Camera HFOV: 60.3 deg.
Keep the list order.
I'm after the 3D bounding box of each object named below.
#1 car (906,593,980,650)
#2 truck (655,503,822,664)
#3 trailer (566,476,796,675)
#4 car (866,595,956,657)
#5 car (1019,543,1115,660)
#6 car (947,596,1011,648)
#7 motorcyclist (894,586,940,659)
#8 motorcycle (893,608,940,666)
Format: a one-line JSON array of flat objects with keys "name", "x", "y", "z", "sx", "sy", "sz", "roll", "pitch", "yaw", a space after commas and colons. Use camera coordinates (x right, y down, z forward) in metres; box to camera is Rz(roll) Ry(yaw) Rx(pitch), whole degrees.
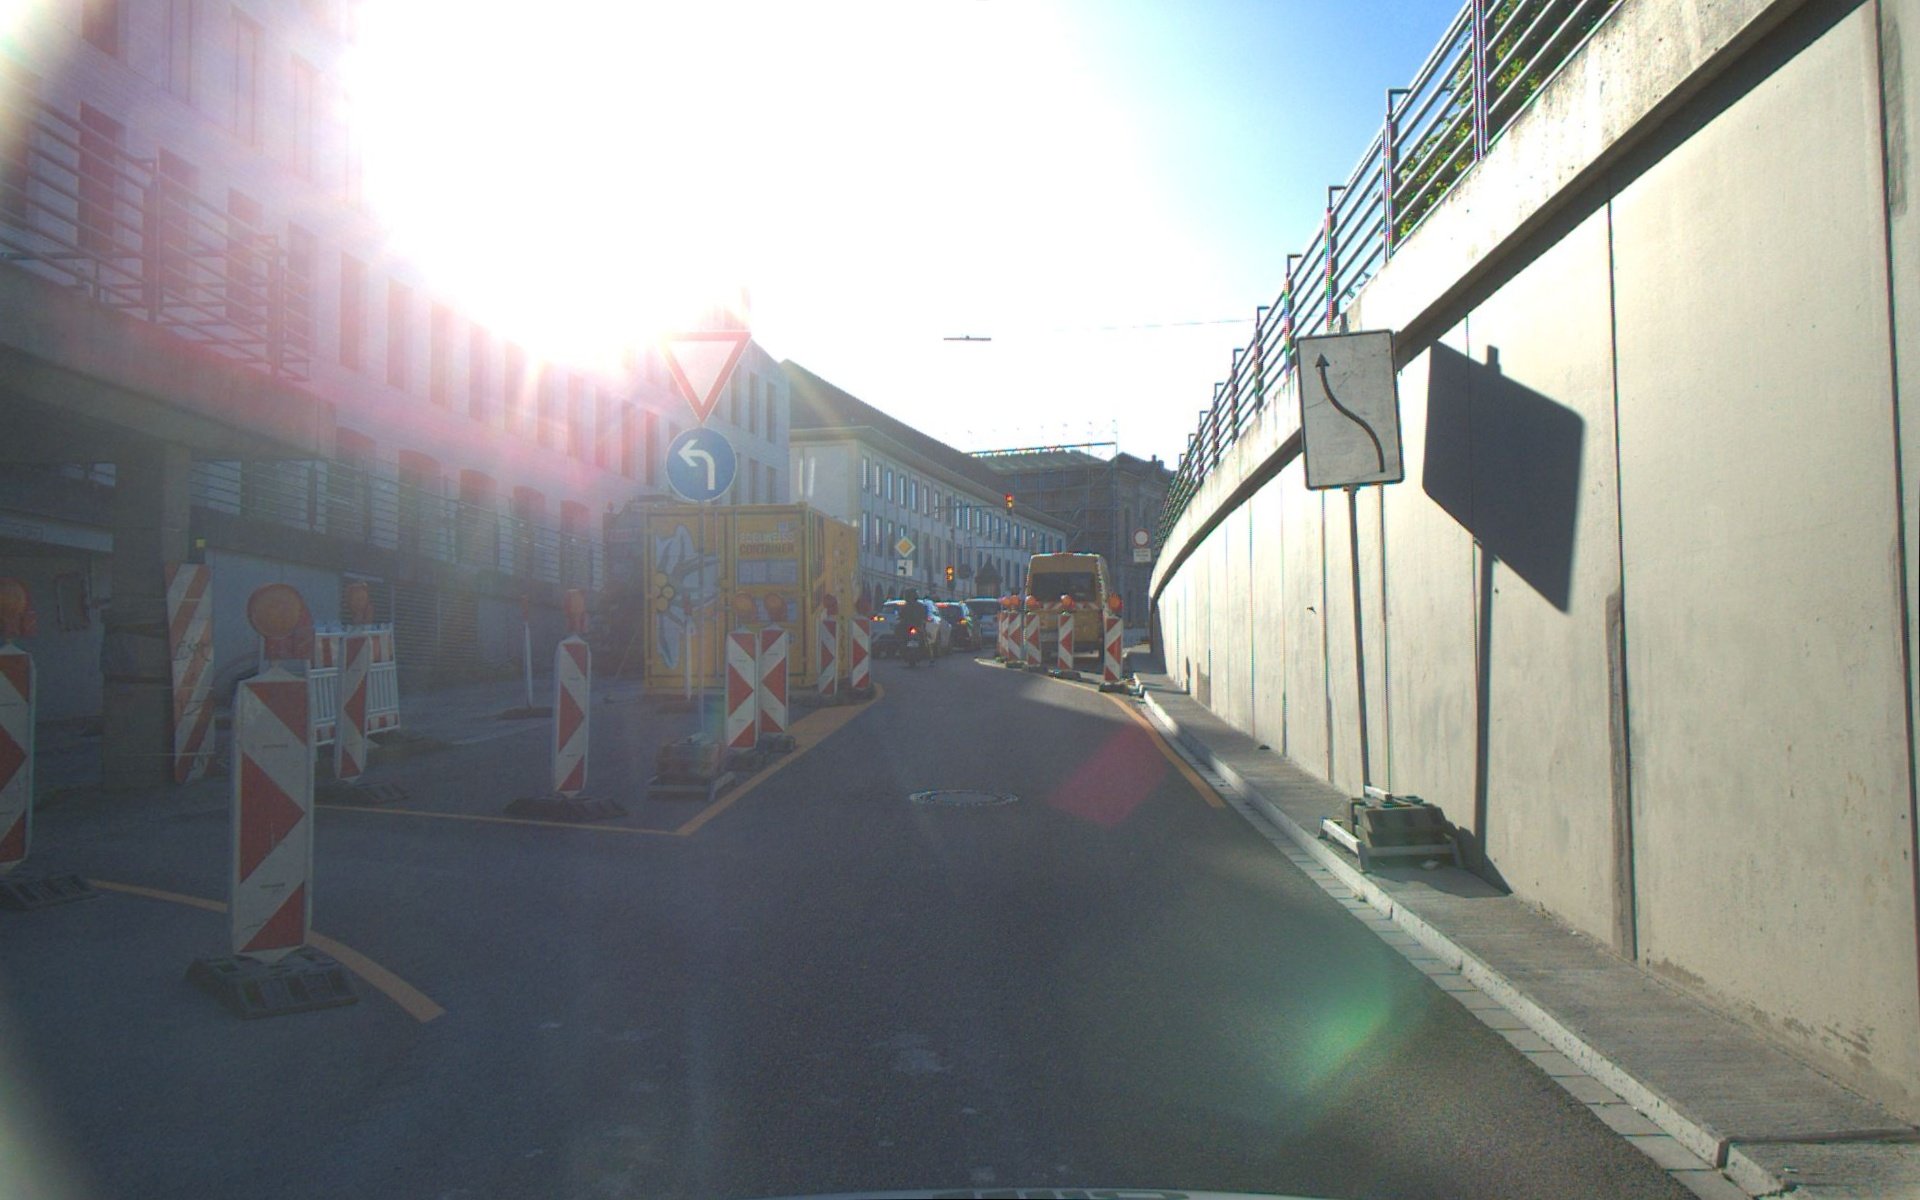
[{"name": "car", "x": -0.479, "y": 0.673, "z": 49.586, "sx": 1.736, "sy": 1.578, "sz": 4.108, "roll": -1, "pitch": -2, "yaw": 6}, {"name": "truck", "x": -5.411, "y": -0.365, "z": 41.462, "sx": 2.525, "sy": 3.550, "sz": 5.820, "roll": -4, "pitch": -1, "yaw": 7}, {"name": "trailer", "x": -5.963, "y": -0.455, "z": 37.124, "sx": 2.586, "sy": 3.732, "sz": 8.754, "roll": -4, "pitch": -1, "yaw": 6}, {"name": "car", "x": -1.236, "y": 0.639, "z": 43.249, "sx": 1.820, "sy": 1.498, "sz": 4.003, "roll": 1, "pitch": 1, "yaw": 6}, {"name": "car", "x": 2.782, "y": 0.069, "z": 41.364, "sx": 2.067, "sy": 2.671, "sz": 6.991, "roll": -1, "pitch": -1, "yaw": 6}, {"name": "car", "x": 0.709, "y": 0.761, "z": 58.735, "sx": 1.765, "sy": 1.751, "sz": 4.166, "roll": 0, "pitch": 0, "yaw": 7}, {"name": "motorcyclist", "x": -0.957, "y": 0.483, "z": 36.441, "sx": 0.935, "sy": 1.587, "sz": 1.238, "roll": 0, "pitch": 0, "yaw": -5}, {"name": "motorcycle", "x": -0.977, "y": 0.792, "z": 36.406, "sx": 0.888, "sy": 1.204, "sz": 2.576, "roll": 0, "pitch": 1, "yaw": -5}]
